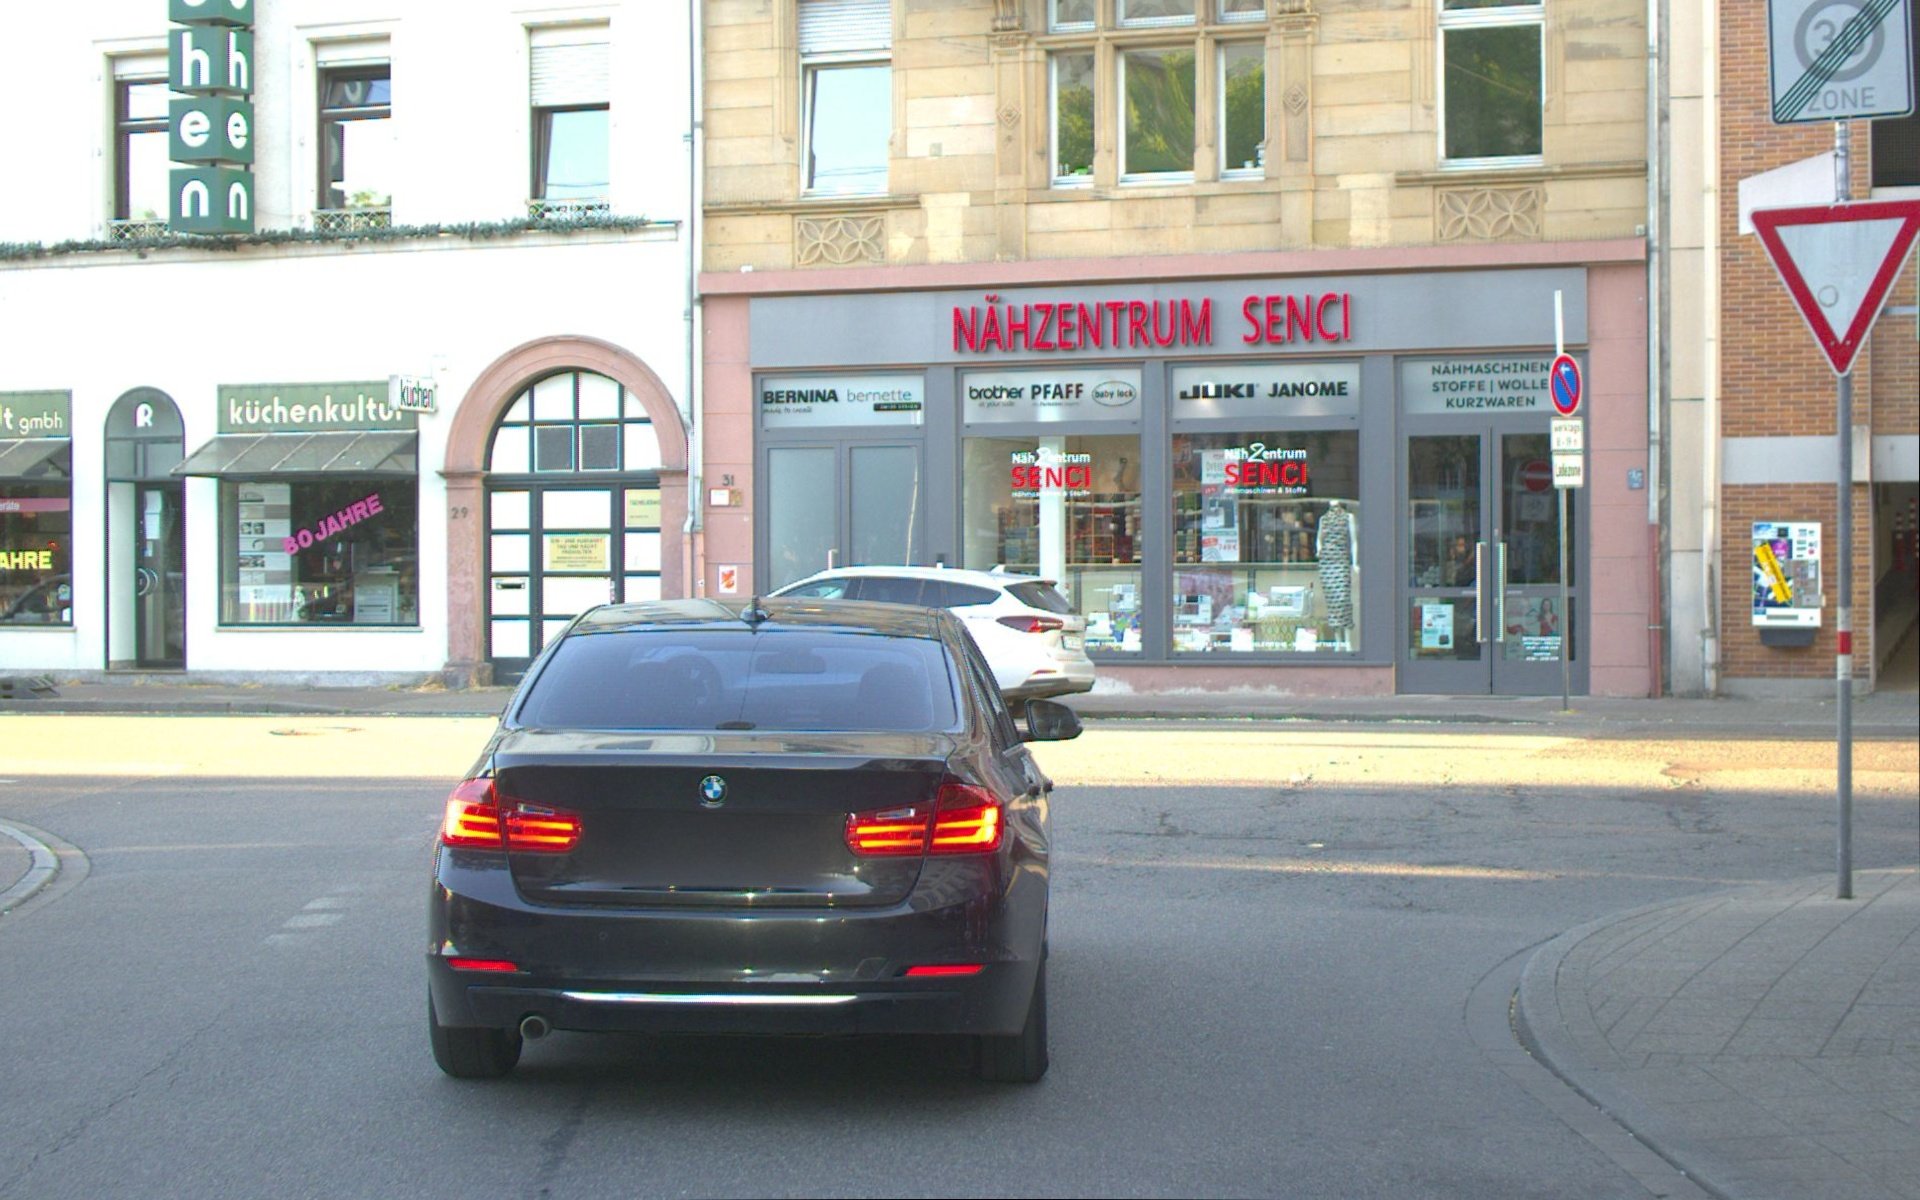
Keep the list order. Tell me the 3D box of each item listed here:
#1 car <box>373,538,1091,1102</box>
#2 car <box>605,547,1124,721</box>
[{"bbox_3d":[-0.635,0.590,11.174,1.888,1.487,4.204,0,0,-1],"label":"car"},{"bbox_3d":[-0.929,0.303,33.813,4.671,1.530,1.998,2,1,20],"label":"car"}]
